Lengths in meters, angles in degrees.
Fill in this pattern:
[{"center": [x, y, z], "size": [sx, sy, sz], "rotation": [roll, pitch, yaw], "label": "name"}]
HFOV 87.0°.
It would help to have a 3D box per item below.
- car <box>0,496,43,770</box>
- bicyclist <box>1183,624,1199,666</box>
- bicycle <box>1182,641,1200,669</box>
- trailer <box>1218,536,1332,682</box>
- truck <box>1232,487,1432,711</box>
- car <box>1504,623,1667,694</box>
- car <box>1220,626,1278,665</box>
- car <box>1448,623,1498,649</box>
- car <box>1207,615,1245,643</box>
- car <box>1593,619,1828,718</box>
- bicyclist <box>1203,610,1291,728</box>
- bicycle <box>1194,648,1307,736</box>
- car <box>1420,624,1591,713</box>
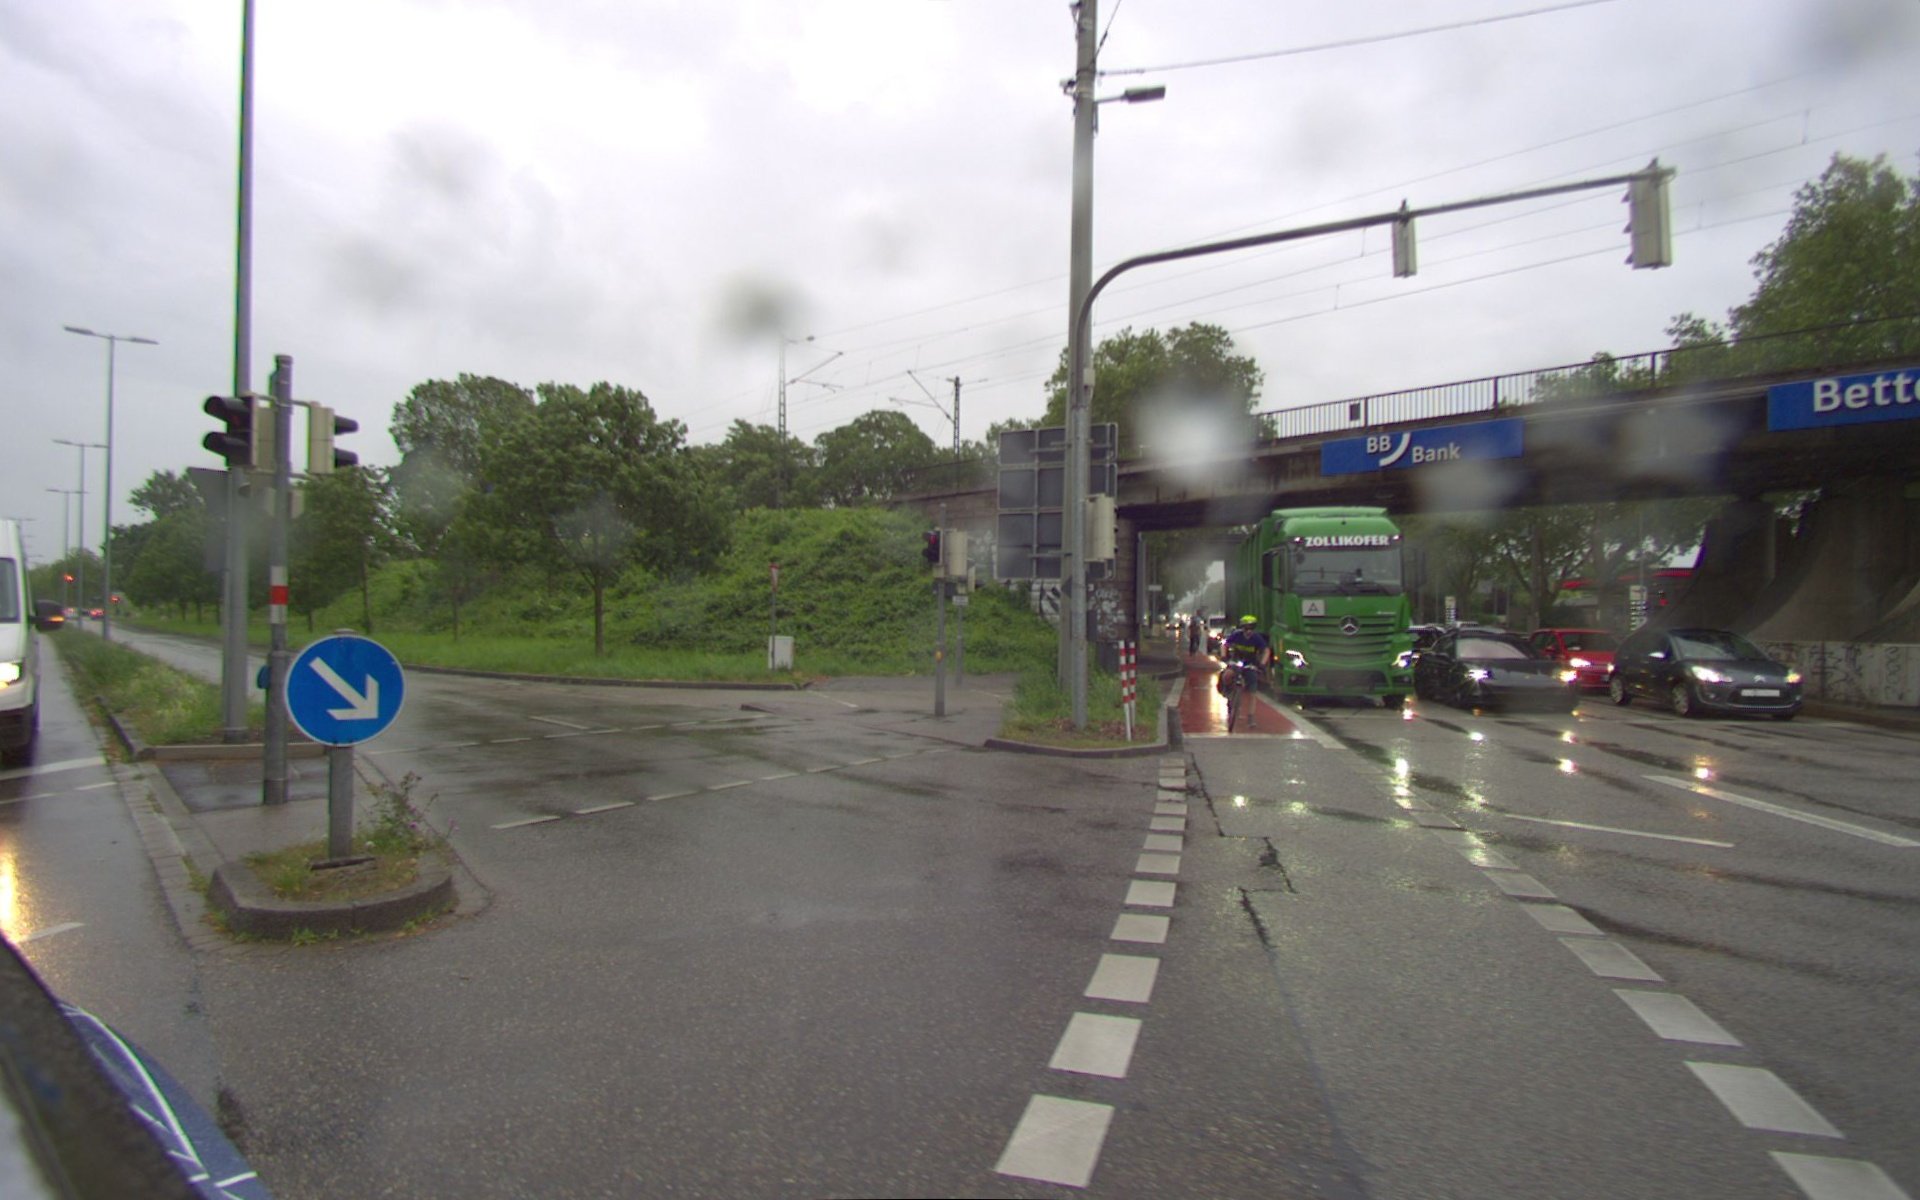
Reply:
[{"center": [-11.143, 0.308, 10.746], "size": [1.940, 2.452, 5.969], "rotation": [2, -2, -42], "label": "car"}, {"center": [9.785, 1.898, 42.863], "size": [0.662, 1.748, 0.686], "rotation": [0, -2, 13], "label": "bicyclist"}, {"center": [9.805, 2.320, 42.905], "size": [0.700, 1.103, 1.905], "rotation": [-1, 0, 13], "label": "bicycle"}, {"center": [9.836, 0.327, 32.393], "size": [2.661, 4.017, 8.487], "rotation": [0, -1, 12], "label": "trailer"}, {"center": [8.022, 0.104, 23.242], "size": [2.659, 3.979, 10.159], "rotation": [0, -1, 11], "label": "truck"}, {"center": [14.354, 1.302, 23.505], "size": [1.801, 1.463, 3.988], "rotation": [0, -2, 9], "label": "car"}, {"center": [12.255, 1.904, 43.160], "size": [1.978, 1.586, 3.987], "rotation": [0, -2, 10], "label": "car"}, {"center": [36.931, 2.603, 72.956], "size": [1.977, 1.830, 3.989], "rotation": [0, -2, 9], "label": "car"}, {"center": [14.584, 1.589, 55.623], "size": [1.809, 1.481, 3.984], "rotation": [0, -2, 12], "label": "car"}, {"center": [13.241, 1.154, 18.197], "size": [1.641, 1.558, 3.990], "rotation": [0, -2, 8], "label": "car"}, {"center": [4.097, 0.952, 14.501], "size": [0.791, 1.605, 1.050], "rotation": [0, 0, -13], "label": "bicyclist"}, {"center": [4.114, 1.273, 14.503], "size": [0.683, 1.103, 1.918], "rotation": [0, 0, -13], "label": "bicycle"}, {"center": [10.360, 1.233, 19.607], "size": [1.729, 1.497, 4.665], "rotation": [0, -2, 13], "label": "car"}]
